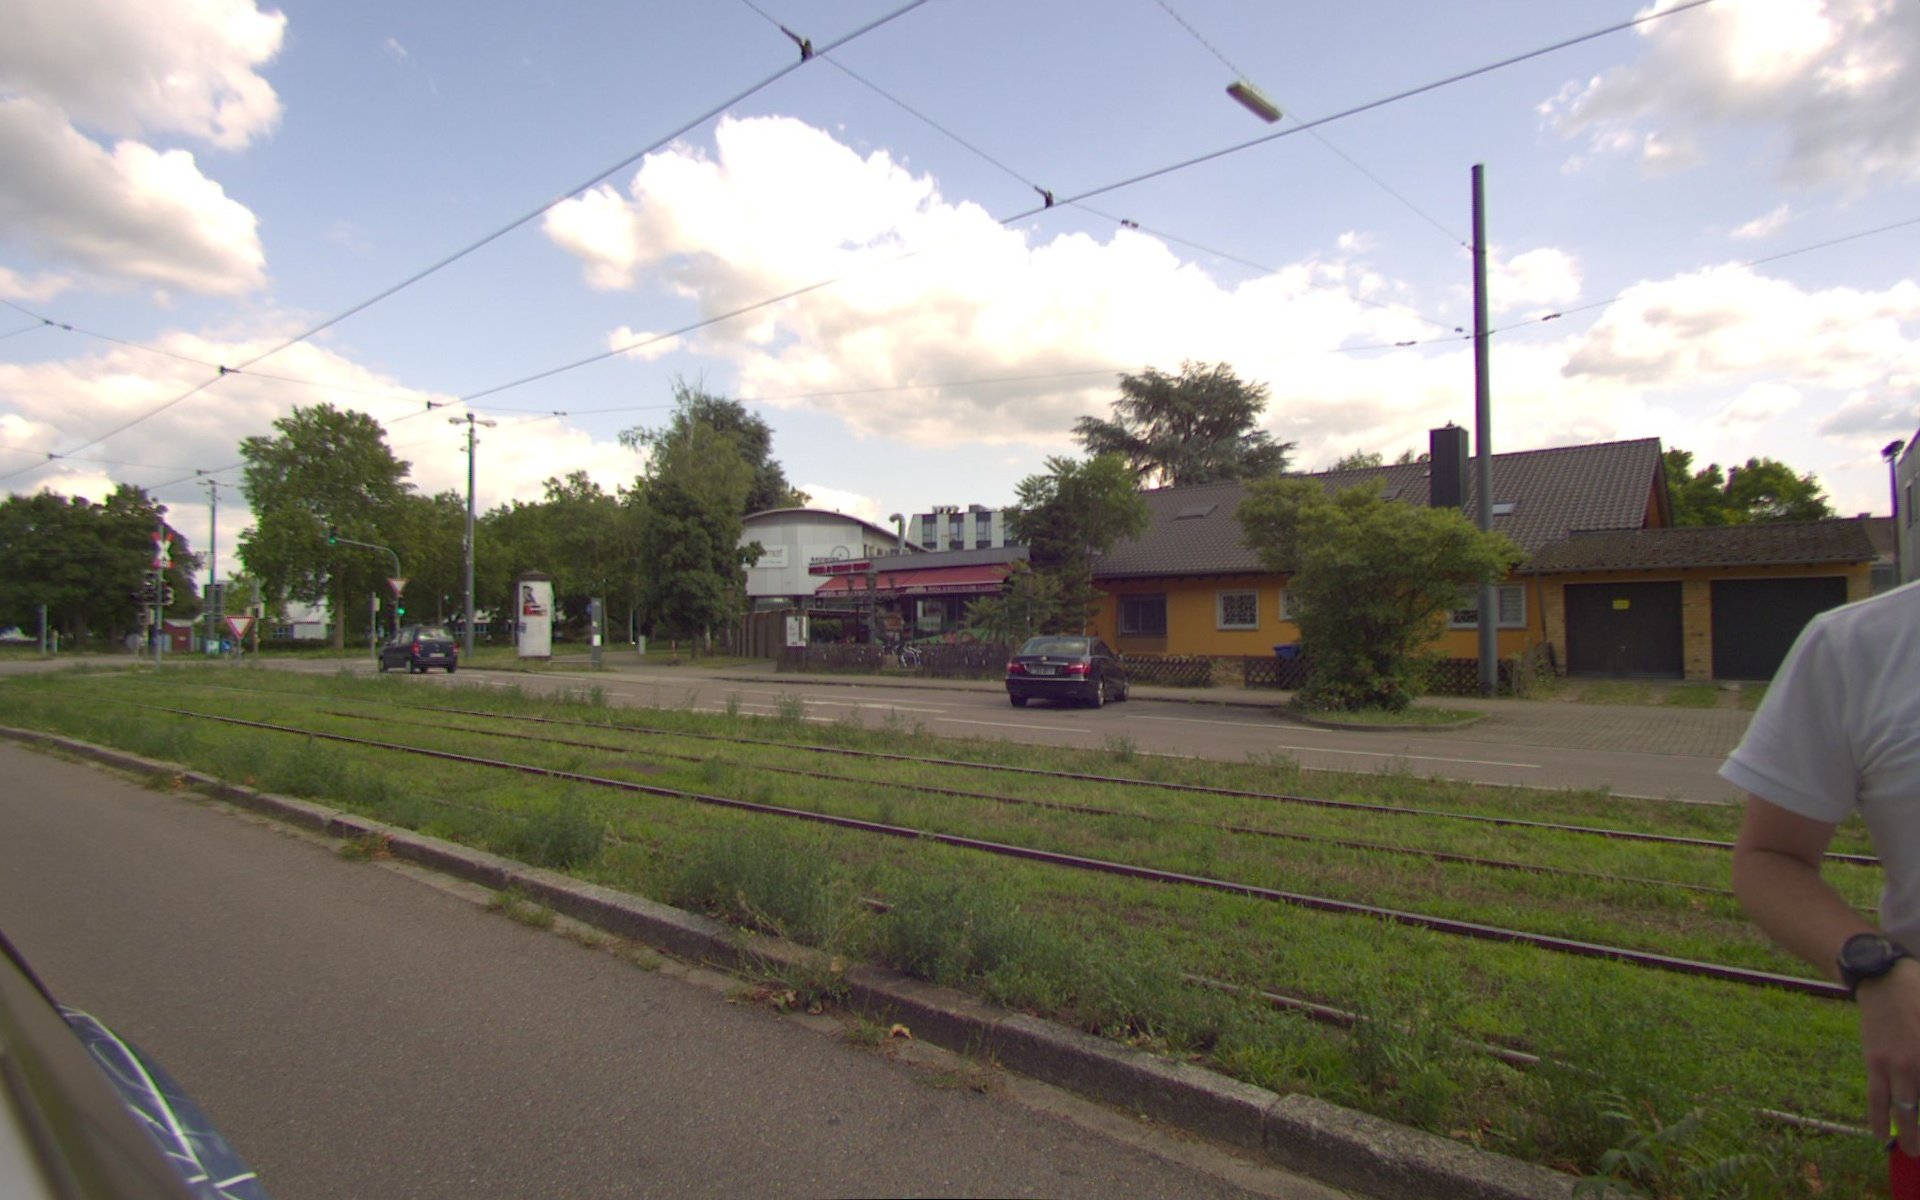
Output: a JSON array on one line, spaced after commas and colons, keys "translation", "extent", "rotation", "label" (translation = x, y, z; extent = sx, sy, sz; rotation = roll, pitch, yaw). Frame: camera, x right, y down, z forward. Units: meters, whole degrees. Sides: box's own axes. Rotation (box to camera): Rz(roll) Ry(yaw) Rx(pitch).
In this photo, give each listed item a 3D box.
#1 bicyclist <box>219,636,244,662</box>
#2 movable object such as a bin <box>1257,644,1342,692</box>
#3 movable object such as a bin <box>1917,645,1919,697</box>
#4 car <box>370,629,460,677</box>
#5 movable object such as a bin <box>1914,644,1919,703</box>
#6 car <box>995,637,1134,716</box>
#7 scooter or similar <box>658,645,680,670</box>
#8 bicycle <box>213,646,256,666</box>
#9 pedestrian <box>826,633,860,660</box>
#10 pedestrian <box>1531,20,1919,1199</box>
[{"translation": [-41.943, 2.818, 58.267], "extent": [0.823, 1.481, 0.802], "rotation": [-3, -2, 9], "label": "bicyclist"}, {"translation": [8.157, 1.612, 24.324], "extent": [1.616, 1.109, 1.242], "rotation": [-2, -3, 39], "label": "movable object such as a bin"}, {"translation": [17.327, 1.337, 17.914], "extent": [0.481, 1.050, 0.499], "rotation": [-3, -2, 40], "label": "movable object such as a bin"}, {"translation": [-19.438, 1.840, 36.049], "extent": [3.495, 1.639, 1.759], "rotation": [-2, -2, 42], "label": "car"}, {"translation": [17.681, 1.332, 18.341], "extent": [0.479, 1.050, 0.488], "rotation": [-3, -2, 40], "label": "movable object such as a bin"}, {"translation": [2.312, 1.500, 21.189], "extent": [1.869, 1.418, 4.620], "rotation": [0, -2, 20], "label": "car"}, {"translation": [-12.189, 2.406, 42.344], "extent": [0.421, 1.041, 1.225], "rotation": [1, -3, -40], "label": "scooter or similar"}, {"translation": [-41.726, 3.212, 58.220], "extent": [2.046, 1.068, 0.802], "rotation": [-3, -2, 9], "label": "bicycle"}, {"translation": [-5.022, 1.993, 43.544], "extent": [0.931, 1.155, 1.141], "rotation": [-2, -3, 41], "label": "pedestrian"}, {"translation": [1.126, 0.428, 0.878], "extent": [0.796, 1.699, 0.849], "rotation": [-1, -1, 8], "label": "pedestrian"}]
